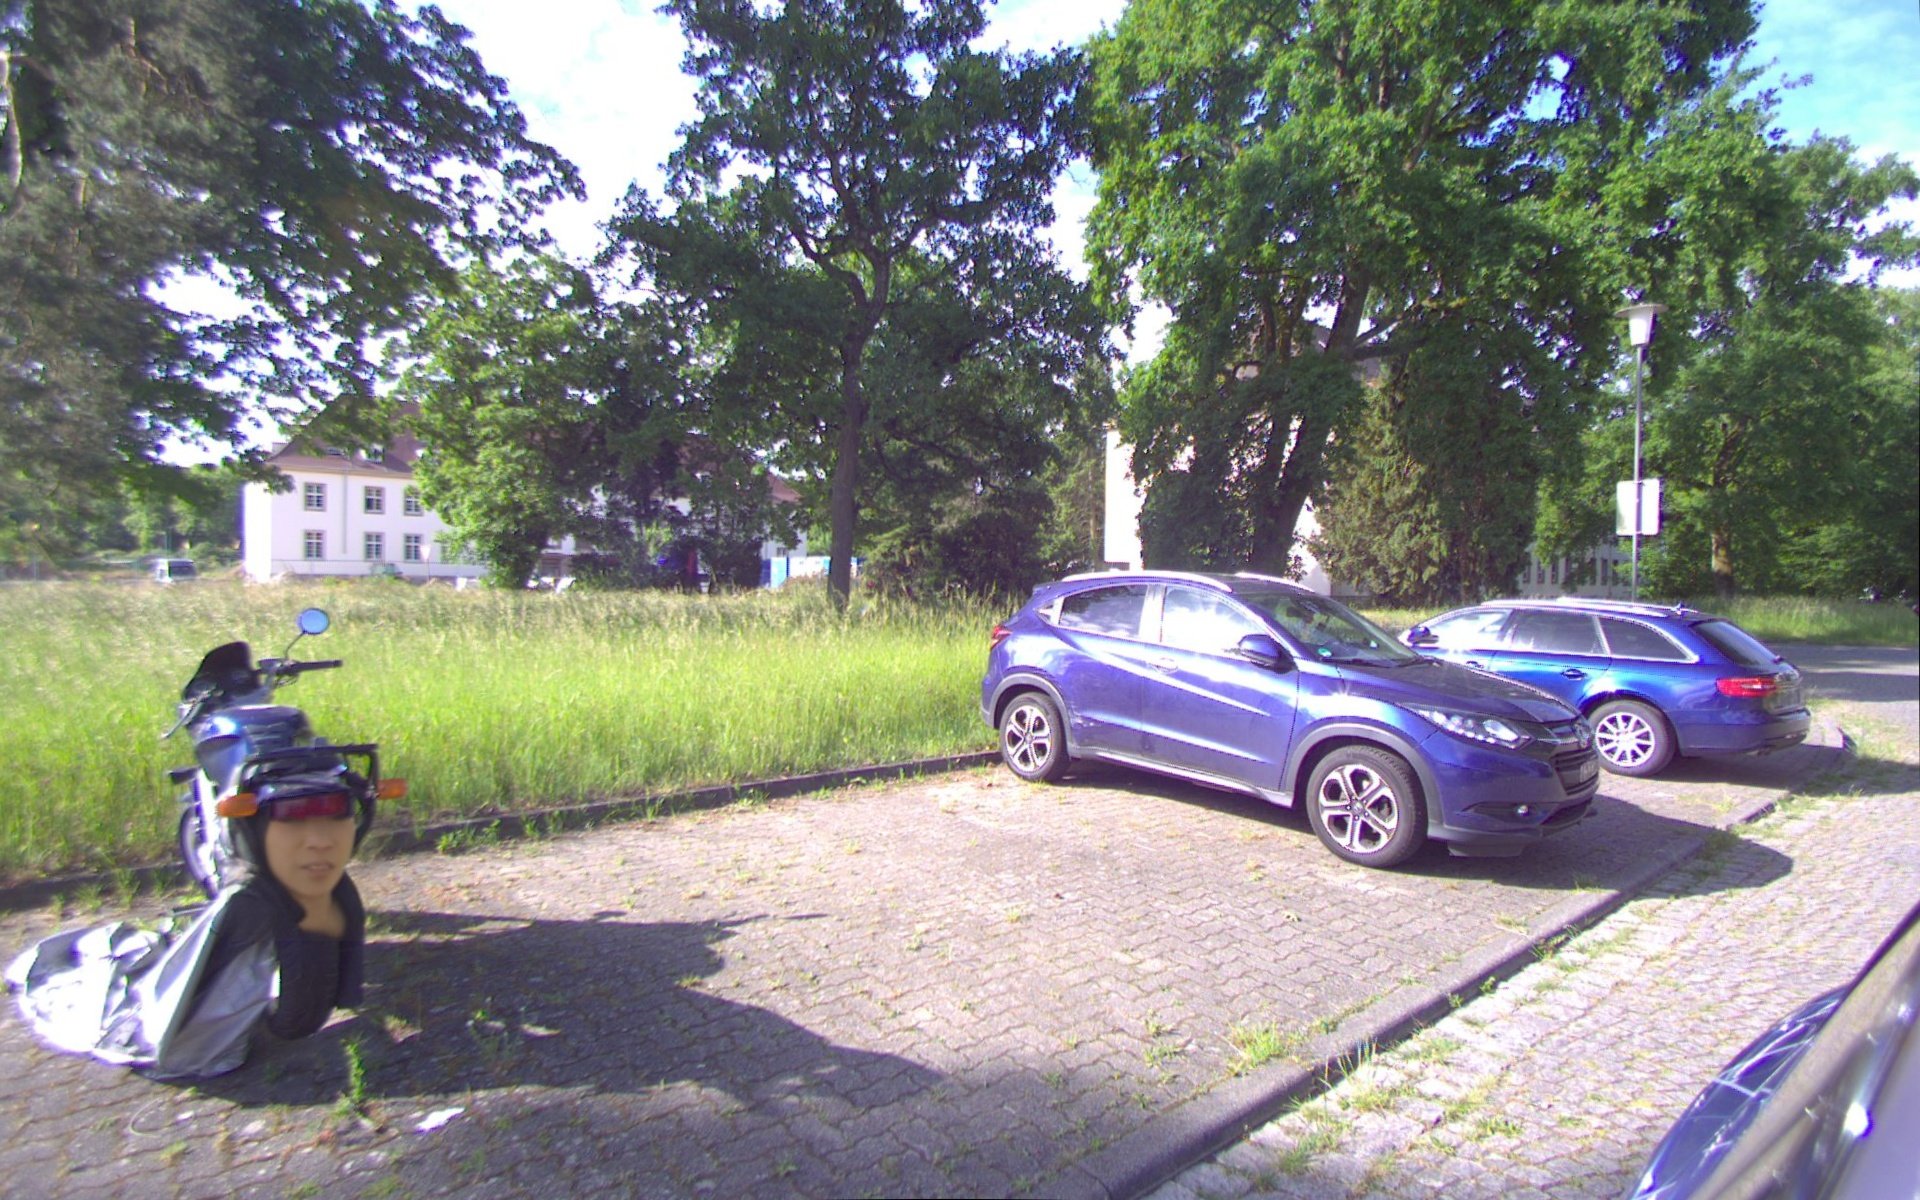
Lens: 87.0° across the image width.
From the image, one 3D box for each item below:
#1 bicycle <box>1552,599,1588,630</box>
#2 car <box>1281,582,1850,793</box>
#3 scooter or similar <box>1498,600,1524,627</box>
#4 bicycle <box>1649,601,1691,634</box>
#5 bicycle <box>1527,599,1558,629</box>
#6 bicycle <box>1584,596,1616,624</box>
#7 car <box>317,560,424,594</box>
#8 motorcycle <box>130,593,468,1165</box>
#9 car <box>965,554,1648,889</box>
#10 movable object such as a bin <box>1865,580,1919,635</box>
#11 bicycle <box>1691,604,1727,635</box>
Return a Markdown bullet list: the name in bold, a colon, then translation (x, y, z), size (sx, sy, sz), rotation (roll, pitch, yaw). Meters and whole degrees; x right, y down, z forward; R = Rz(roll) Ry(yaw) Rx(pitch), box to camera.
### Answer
- **bicycle**: translation (21.517, 0.506, 35.697), size (1.007, 1.029, 0.711), rotation (0, 1, -33)
- **car**: translation (5.590, 0.629, 9.944), size (1.682, 1.425, 4.463), rotation (0, 3, -37)
- **scooter or similar**: translation (19.695, 0.478, 36.174), size (0.767, 0.941, 0.257), rotation (2, 1, 44)
- **bicycle**: translation (23.045, 0.549, 32.855), size (1.232, 1.029, 0.711), rotation (0, 1, -34)
- **bicycle**: translation (20.751, 0.477, 36.038), size (1.008, 1.029, 0.619), rotation (0, 1, -38)
- **bicycle**: translation (24.382, 0.362, 38.581), size (0.700, 1.029, 1.024), rotation (1, 1, 12)
- **car**: translation (-39.741, -1.576, 68.442), size (5.888, 2.198, 2.381), rotation (-1, 1, -18)
- **motorcycle**: translation (-2.467, 0.684, 3.609), size (0.713, 1.336, 2.304), rotation (0, 2, -41)
- **car**: translation (2.051, 0.523, 7.008), size (1.721, 1.610, 4.185), rotation (0, 2, -41)
- **movable object such as a bin**: translation (32.661, 0.294, 32.521), size (1.959, 1.781, 4.949), rotation (0, 1, -26)
- **bicycle**: translation (23.961, 0.623, 32.383), size (1.121, 0.946, 0.746), rotation (0, 1, -44)
